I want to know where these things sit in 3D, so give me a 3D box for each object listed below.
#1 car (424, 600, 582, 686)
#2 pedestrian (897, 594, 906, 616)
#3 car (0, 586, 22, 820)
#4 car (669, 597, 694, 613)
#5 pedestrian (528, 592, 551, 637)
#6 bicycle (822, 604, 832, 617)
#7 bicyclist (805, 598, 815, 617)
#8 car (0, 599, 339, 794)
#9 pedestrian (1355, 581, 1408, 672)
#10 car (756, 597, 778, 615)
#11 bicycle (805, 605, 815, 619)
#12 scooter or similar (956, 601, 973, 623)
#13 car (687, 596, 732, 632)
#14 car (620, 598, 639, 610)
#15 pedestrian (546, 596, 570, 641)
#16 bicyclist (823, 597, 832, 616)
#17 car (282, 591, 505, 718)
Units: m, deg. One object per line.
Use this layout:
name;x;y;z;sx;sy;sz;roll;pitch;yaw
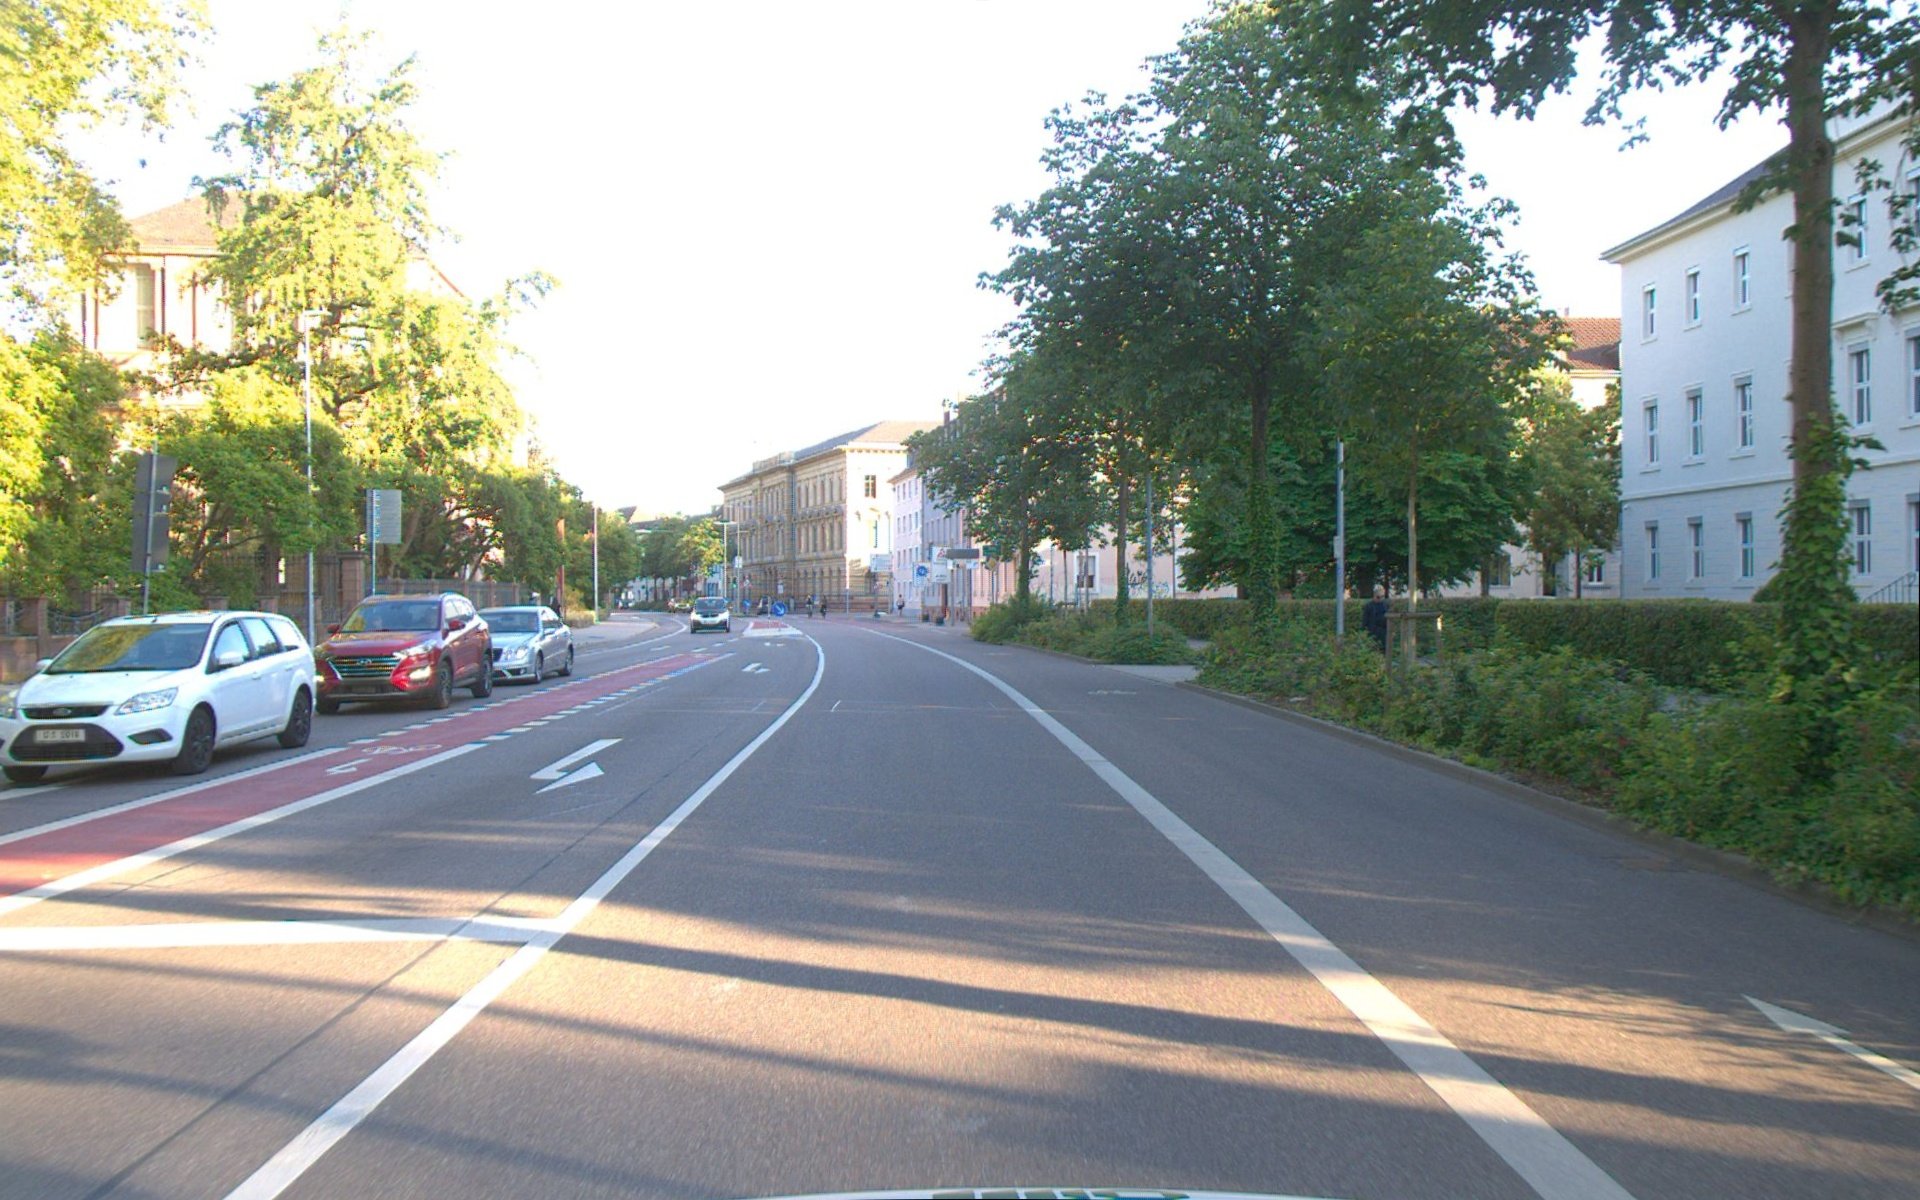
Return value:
car;-8.652;0.762;31.731;1.878;1.442;4.767;-2;0;-3
pedestrian;-4.697;0.420;132.440;0.746;1.785;0.844;0;0;-2
car;-7.940;0.798;10.220;1.878;1.725;4.424;-2;0;-3
car;-28.832;0.548;171.144;1.964;1.613;3.977;0;0;-19
pedestrian;-15.588;0.528;61.270;0.667;1.651;0.688;0;0;1
bicycle;-10.435;0.830;130.044;0.639;1.033;2.194;2;0;-7
bicyclist;-11.769;0.560;129.773;0.639;1.471;0.878;2;0;-7
car;-7.971;0.841;16.582;1.878;1.611;4.671;-2;0;-3
pedestrian;8.368;0.519;32.864;0.755;1.769;0.806;0;0;-8
car;-16.945;0.557;145.229;1.832;1.536;3.993;1;0;-8
bicycle;-11.790;0.962;129.801;0.639;1.033;2.194;2;0;-7
scooter or similar;0.271;0.769;105.064;0.618;1.360;2.393;0;0;-12
car;-11.471;0.603;75.628;1.816;1.553;3.989;-2;0;-11
car;-44.680;0.565;223.713;1.953;1.613;3.999;0;0;-2
pedestrian;-14.859;0.686;61.143;0.666;1.651;0.689;0;0;3
bicyclist;-10.423;0.514;130.050;0.639;1.501;0.939;2;0;-7
car;-8.313;0.728;24.740;1.878;1.653;4.636;-2;0;-3
